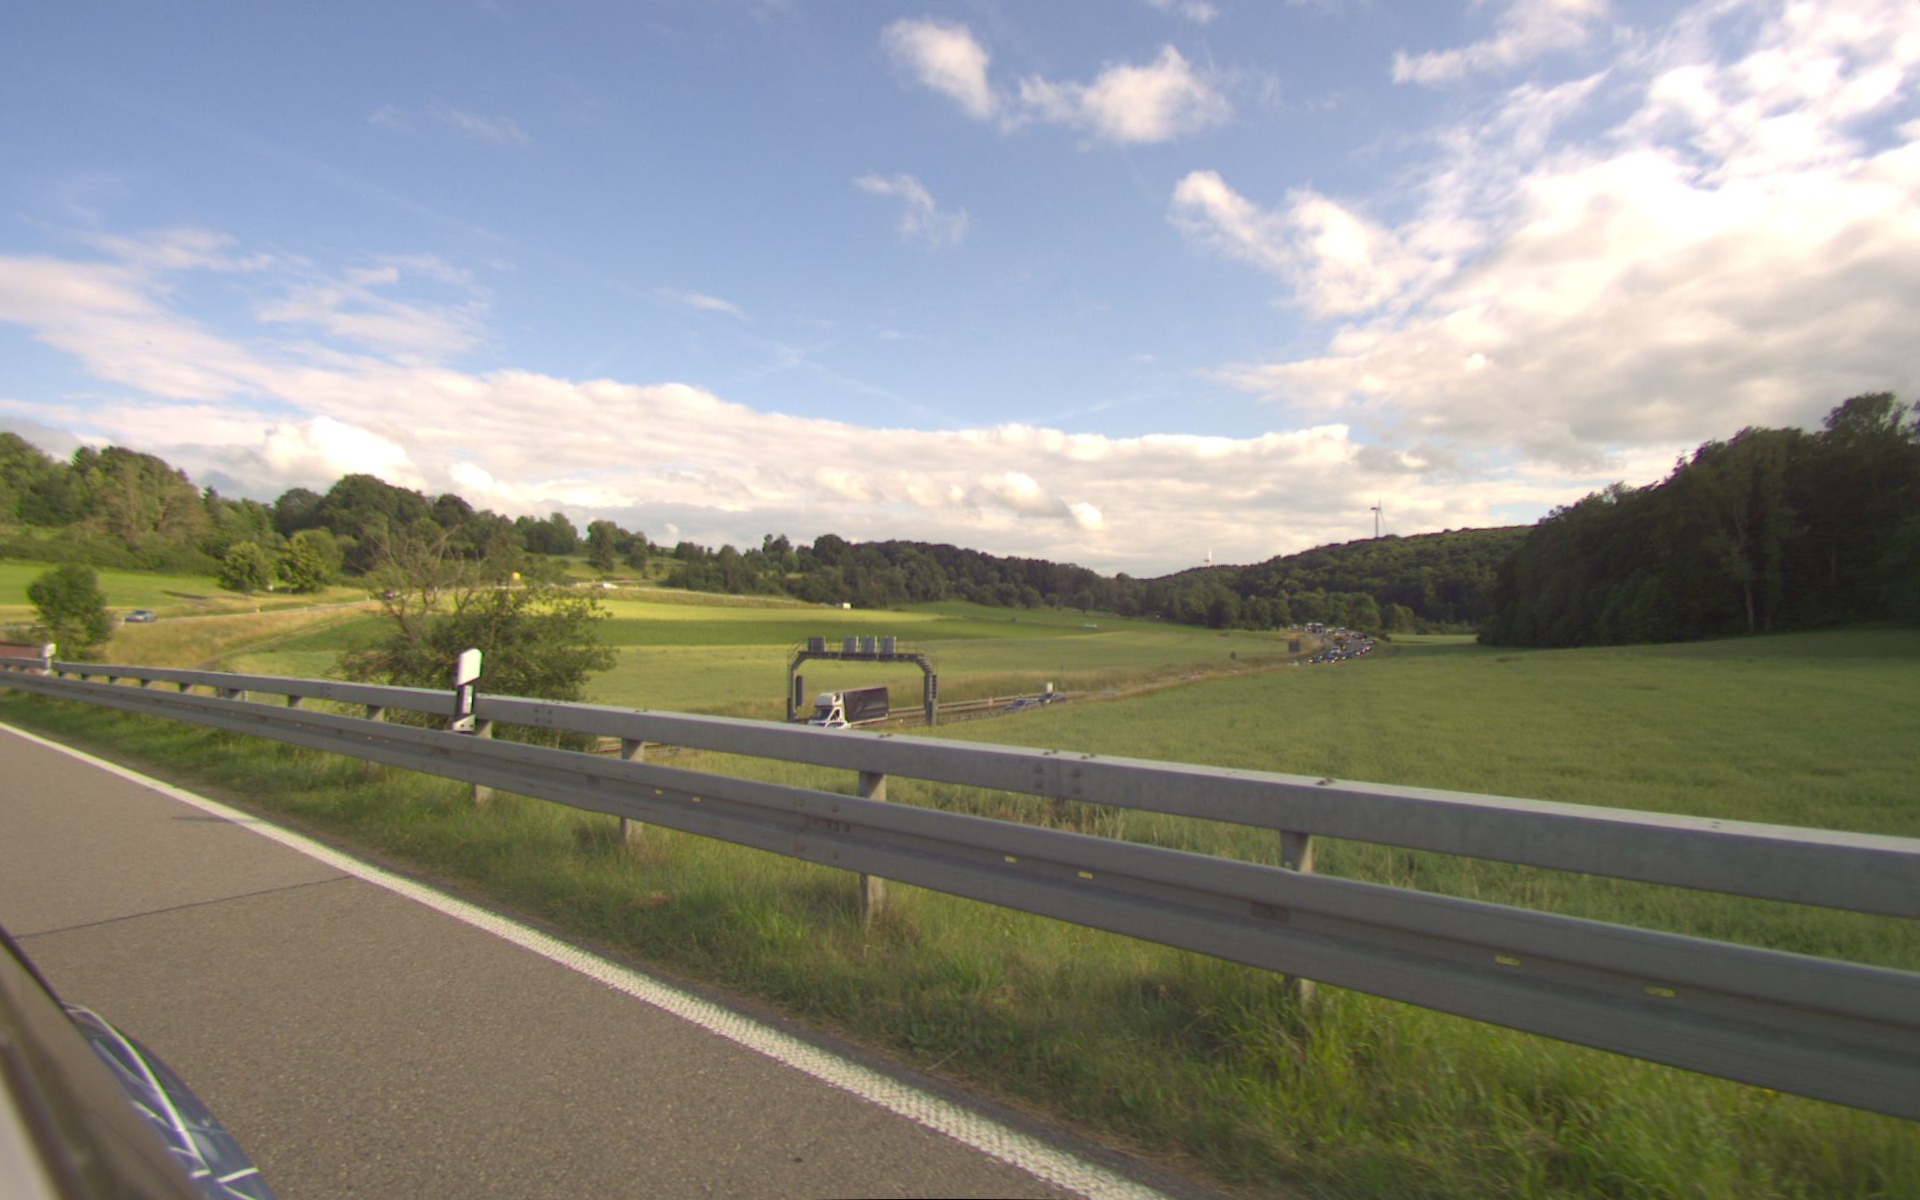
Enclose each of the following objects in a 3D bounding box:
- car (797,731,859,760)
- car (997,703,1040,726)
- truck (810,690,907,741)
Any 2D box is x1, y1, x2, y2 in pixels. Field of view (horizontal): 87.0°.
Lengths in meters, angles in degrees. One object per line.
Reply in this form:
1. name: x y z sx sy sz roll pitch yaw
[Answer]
1. car: -8.762 9.678 67.534 1.825 1.662 3.951 -1 -5 36
2. car: 4.991 9.751 86.379 1.825 1.662 3.951 -1 -2 36
3. truck: -7.598 8.681 77.118 2.120 3.431 8.388 -1 -4 37
